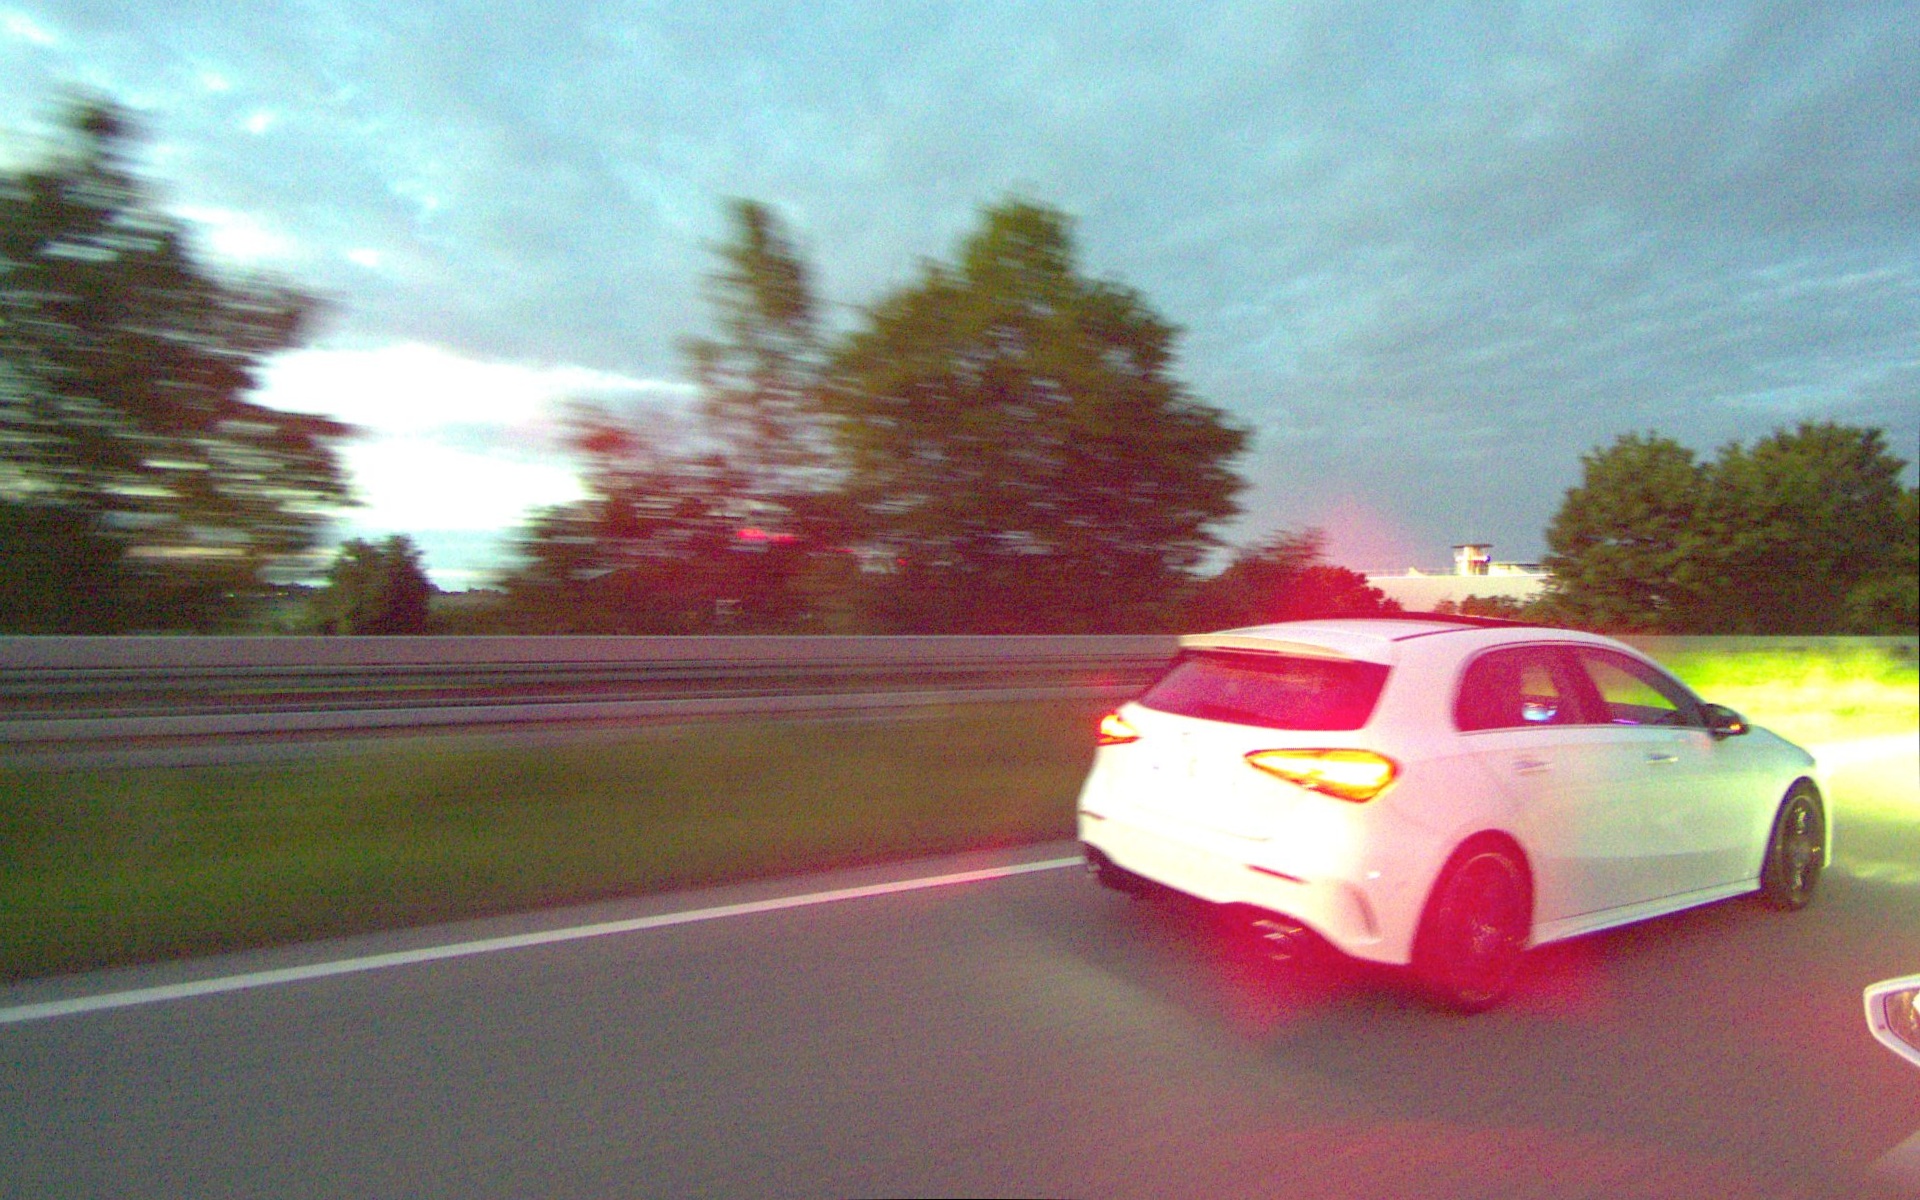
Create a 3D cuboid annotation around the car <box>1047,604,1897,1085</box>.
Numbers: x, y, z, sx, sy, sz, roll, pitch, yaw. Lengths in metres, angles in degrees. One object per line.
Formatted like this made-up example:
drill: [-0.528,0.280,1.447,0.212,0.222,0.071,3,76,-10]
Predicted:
car: [2.765,0.838,5.059,4.526,1.510,1.634,2,0,-31]
